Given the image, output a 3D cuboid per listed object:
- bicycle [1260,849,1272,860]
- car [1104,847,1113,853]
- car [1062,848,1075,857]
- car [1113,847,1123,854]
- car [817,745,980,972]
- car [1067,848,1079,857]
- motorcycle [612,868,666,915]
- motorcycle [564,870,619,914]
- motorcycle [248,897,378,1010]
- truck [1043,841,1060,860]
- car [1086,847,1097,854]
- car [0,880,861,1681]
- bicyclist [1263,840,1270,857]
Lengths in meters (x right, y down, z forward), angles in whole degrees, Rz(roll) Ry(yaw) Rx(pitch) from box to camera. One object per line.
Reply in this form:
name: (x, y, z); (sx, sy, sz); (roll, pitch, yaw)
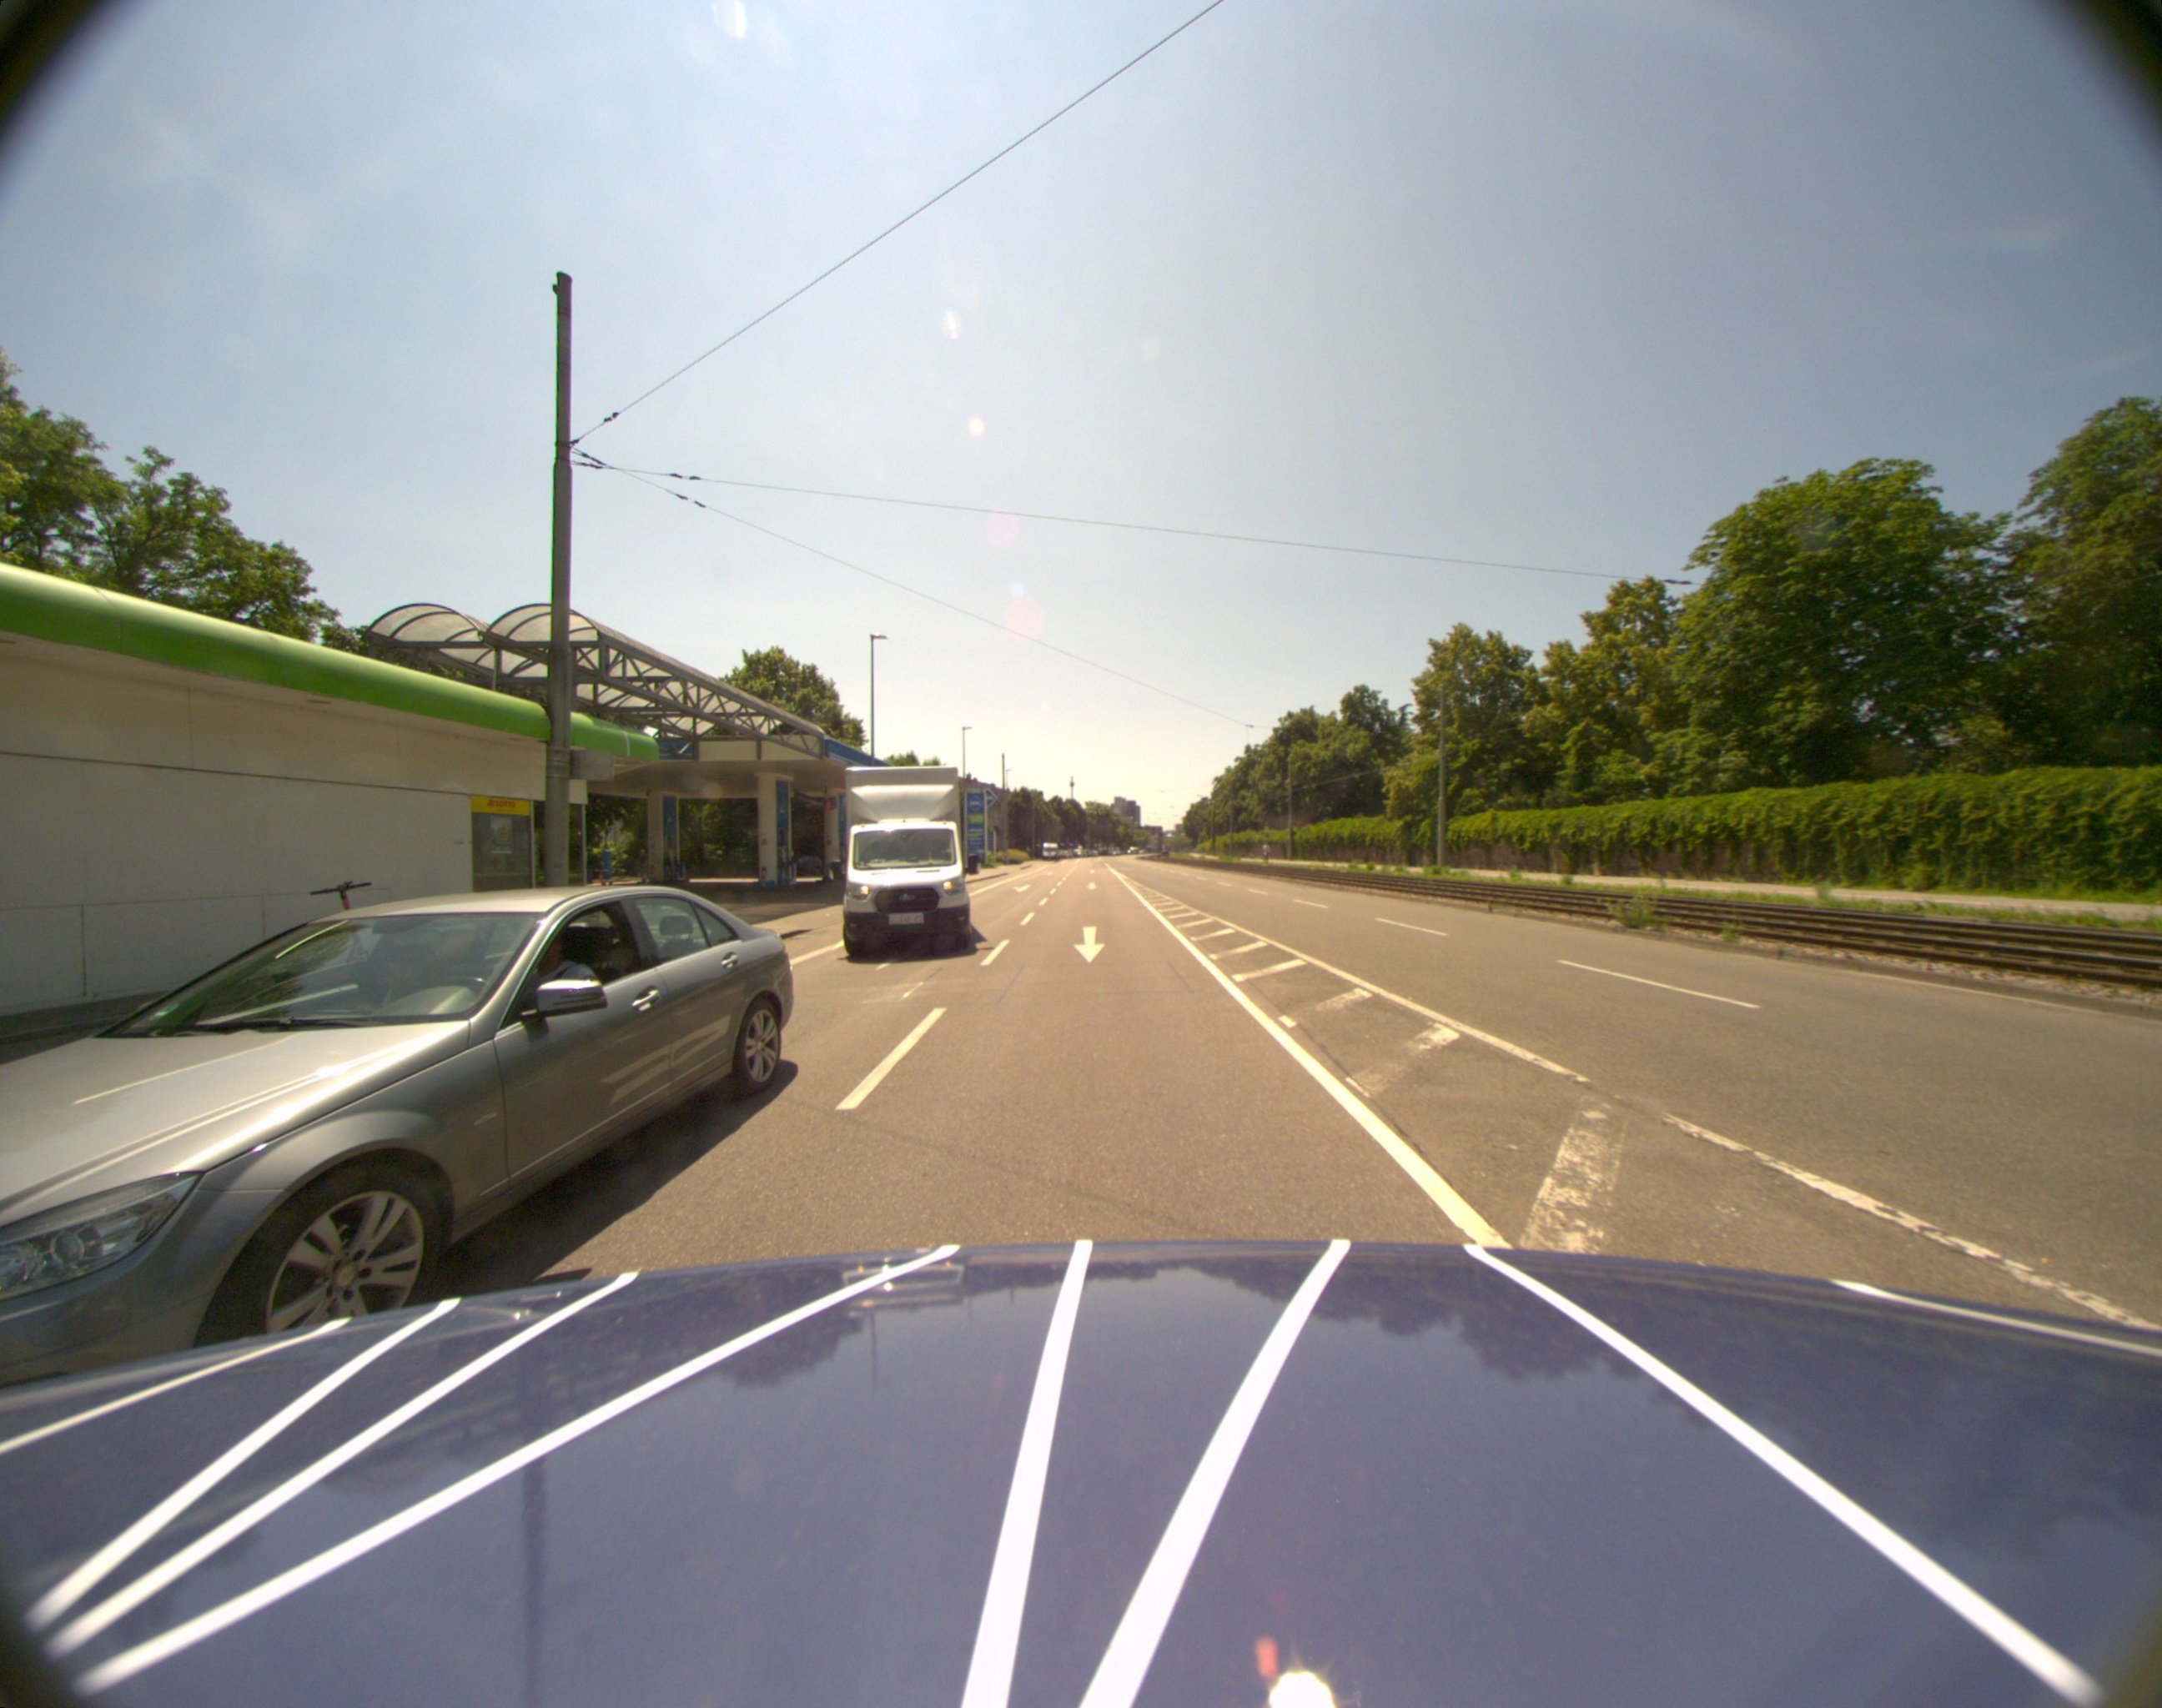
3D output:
bicycle: (17.970, 0.014, 73.749); (0.618, 1.049, 1.977); (-2, 1, -1)
car: (7.481, -0.994, 209.050); (1.911, 1.488, 4.002); (-2, 1, 10)
car: (-2.209, -0.227, 132.085); (1.912, 1.488, 4.000); (-2, 1, 4)
car: (9.178, -0.904, 188.851); (1.946, 1.674, 4.002); (-2, 1, 8)
car: (-3.581, 0.018, 15.599); (2.231, 3.316, 8.626); (-2, 1, -12)
car: (-1.455, -0.319, 141.395); (1.912, 1.488, 4.000); (-2, 1, 4)
motorcycle: (-11.615, 0.981, 19.984); (1.157, 1.203, 0.364); (1, 0, -1)
motorcycle: (-12.861, 0.994, 19.957); (1.157, 1.107, 0.396); (1, 0, -1)
motorcycle: (-8.645, 1.084, 8.598); (0.253, 1.099, 1.117); (5, 1, 1)
truck: (-4.075, -0.533, 106.876); (1.998, 2.462, 5.236); (-2, 1, 1)
car: (2.420, -0.743, 177.682); (1.911, 1.488, 4.002); (-2, 1, 10)
car: (-2.987, 1.016, 4.086); (1.716, 1.464, 5.302); (-3, 0, 3)
bicyclist: (17.961, -0.515, 73.630); (0.483, 1.603, 0.768); (-2, 2, -1)
